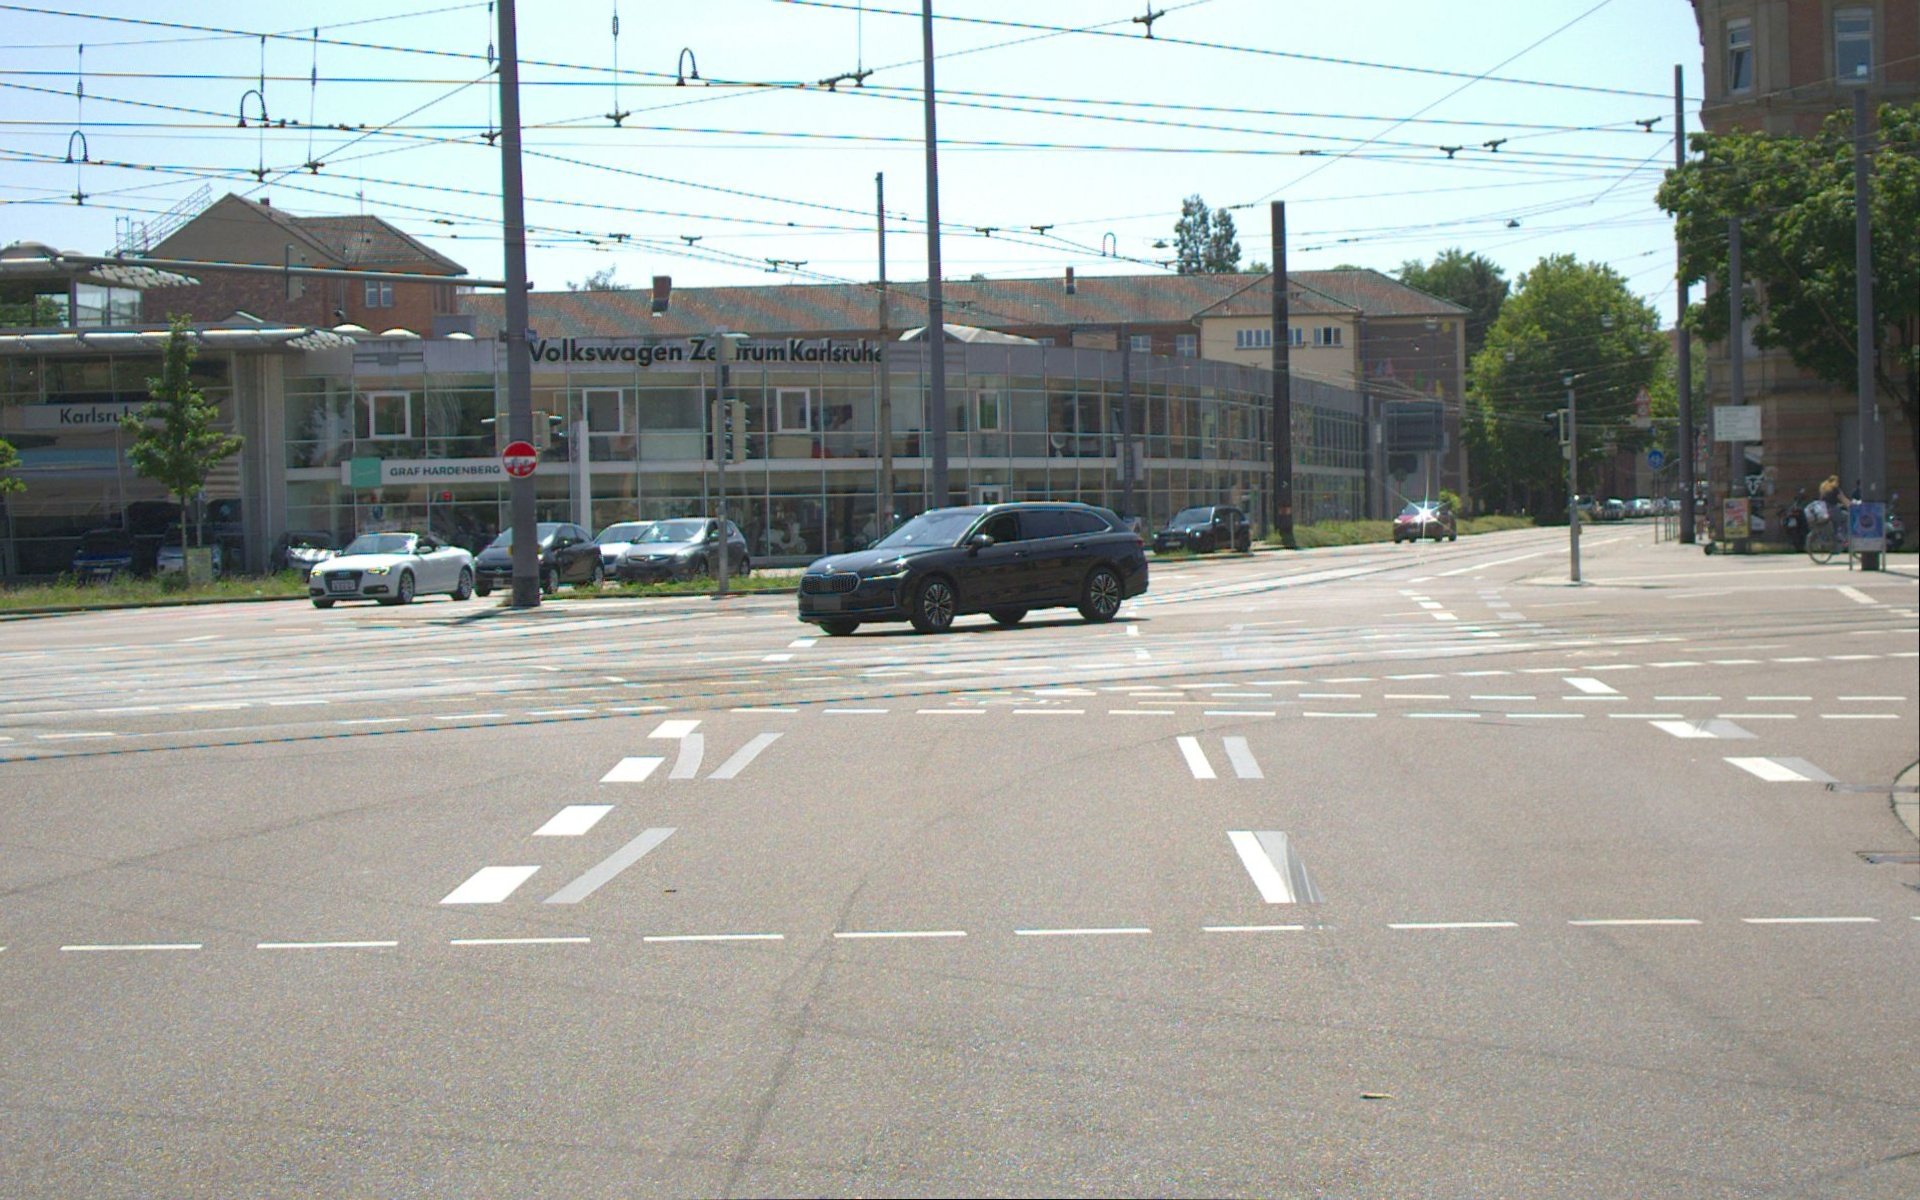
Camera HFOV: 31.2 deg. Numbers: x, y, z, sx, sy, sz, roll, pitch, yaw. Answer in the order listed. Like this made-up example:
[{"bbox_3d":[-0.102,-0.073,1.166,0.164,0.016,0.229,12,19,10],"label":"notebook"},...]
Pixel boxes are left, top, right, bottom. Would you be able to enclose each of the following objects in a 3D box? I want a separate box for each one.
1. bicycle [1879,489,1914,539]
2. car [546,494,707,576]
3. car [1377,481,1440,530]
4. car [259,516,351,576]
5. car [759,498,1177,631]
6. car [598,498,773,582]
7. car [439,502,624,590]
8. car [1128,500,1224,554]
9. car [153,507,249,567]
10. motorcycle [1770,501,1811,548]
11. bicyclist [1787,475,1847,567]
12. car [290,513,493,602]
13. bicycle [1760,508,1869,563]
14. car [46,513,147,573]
[{"bbox_3d":[21.898,-2.005,80.398,0.442,1.142,2.093,1,1,6],"label":"bicycle"},{"bbox_3d":[-7.406,-1.468,76.806,1.995,1.733,4.540,-1,2,16],"label":"car"},{"bbox_3d":[17.275,-3.618,132.276,1.995,1.769,3.997,1,1,14],"label":"car"},{"bbox_3d":[-19.196,-1.589,100.945,1.920,1.701,4.000,1,1,0],"label":"car"},{"bbox_3d":[0.142,-0.452,41.389,4.832,1.460,1.999,-2,2,-39],"label":"car"},{"bbox_3d":[-5.654,-1.270,71.548,1.995,1.631,4.843,-1,2,16],"label":"car"},{"bbox_3d":[-8.823,-1.145,71.261,1.995,1.694,4.843,-1,2,16],"label":"car"},{"bbox_3d":[7.063,-2.395,111.846,2.080,1.677,4.843,-1,2,16],"label":"car"},{"bbox_3d":[-22.254,-1.828,100.934,1.920,1.701,4.000,1,1,0],"label":"car"},{"bbox_3d":[19.340,-1.756,80.101,0.580,1.071,1.946,-1,1,3],"label":"motorcycle"},{"bbox_3d":[16.926,-1.552,67.906,1.060,1.802,0.479,1,0,-25],"label":"bicyclist"},{"bbox_3d":[-10.700,-0.835,65.121,2.078,1.574,4.844,-1,2,13],"label":"car"},{"bbox_3d":[16.880,-1.274,67.878,2.105,1.049,0.693,1,1,-25],"label":"bicycle"},{"bbox_3d":[-25.322,-1.674,100.927,1.920,1.701,4.000,1,1,0],"label":"car"}]
